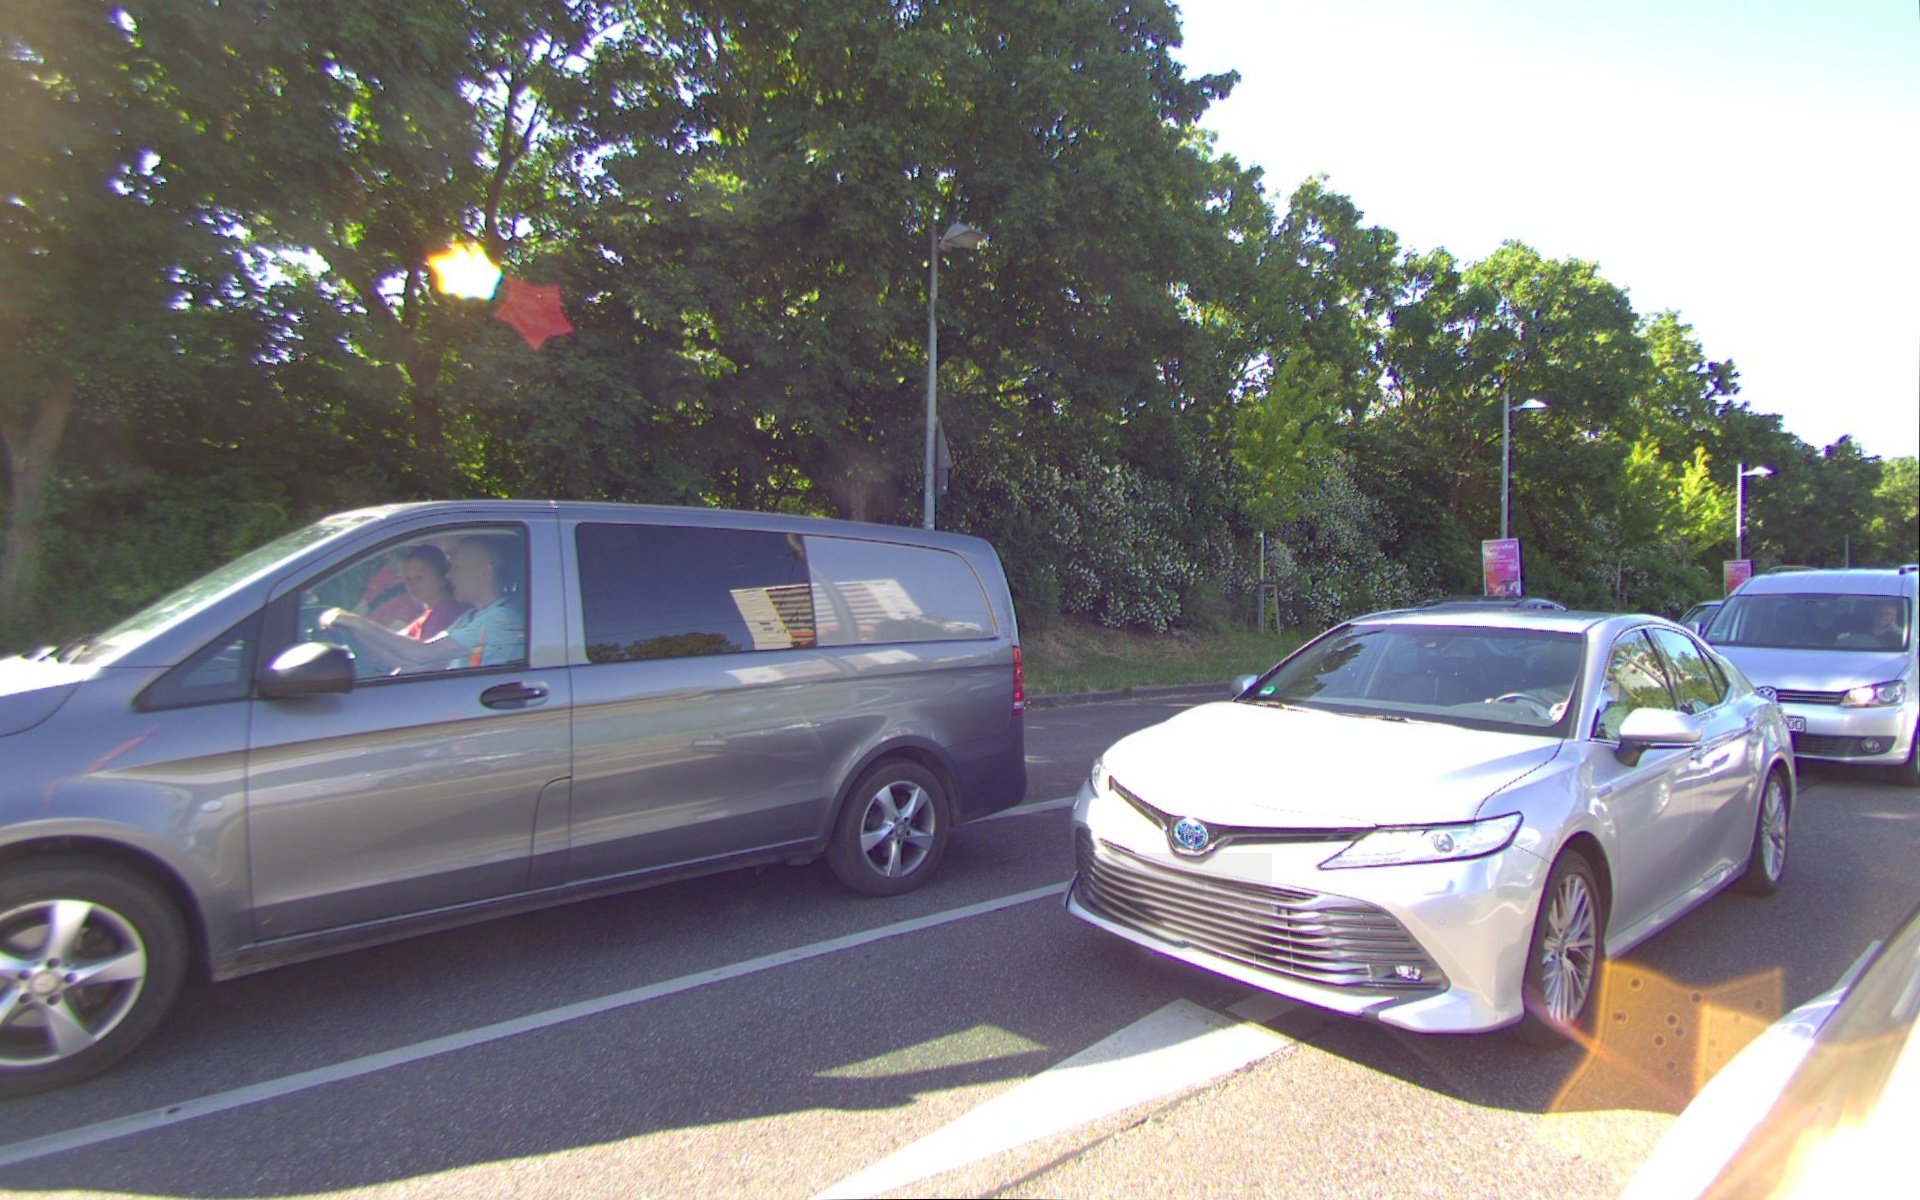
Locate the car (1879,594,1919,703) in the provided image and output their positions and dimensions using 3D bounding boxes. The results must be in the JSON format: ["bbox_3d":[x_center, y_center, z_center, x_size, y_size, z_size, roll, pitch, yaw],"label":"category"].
[{"bbox_3d":[14.847,0.675,14.788,4.126,1.472,1.715,0,1,-43],"label":"car"}]

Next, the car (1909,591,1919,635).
[{"bbox_3d":[34.729,0.434,35.497,3.894,1.512,1.713,0,1,-40],"label":"car"}]

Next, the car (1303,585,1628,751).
[{"bbox_3d":[5.775,0.600,11.354,4.151,1.527,1.771,-1,0,-40],"label":"car"}]

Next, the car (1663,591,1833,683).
[{"bbox_3d":[14.757,0.606,18.874,4.064,1.536,1.725,0,0,-40],"label":"car"}]

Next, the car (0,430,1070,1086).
[{"bbox_3d":[-1.917,0.423,4.718,5.011,1.875,1.809,0,2,-39],"label":"car"}]

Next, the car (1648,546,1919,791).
[{"bbox_3d":[8.453,0.479,9.719,4.504,1.844,1.809,-1,1,-39],"label":"car"}]

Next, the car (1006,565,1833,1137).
[{"bbox_3d":[2.521,0.661,4.858,4.599,1.512,1.808,0,0,-40],"label":"car"}]
